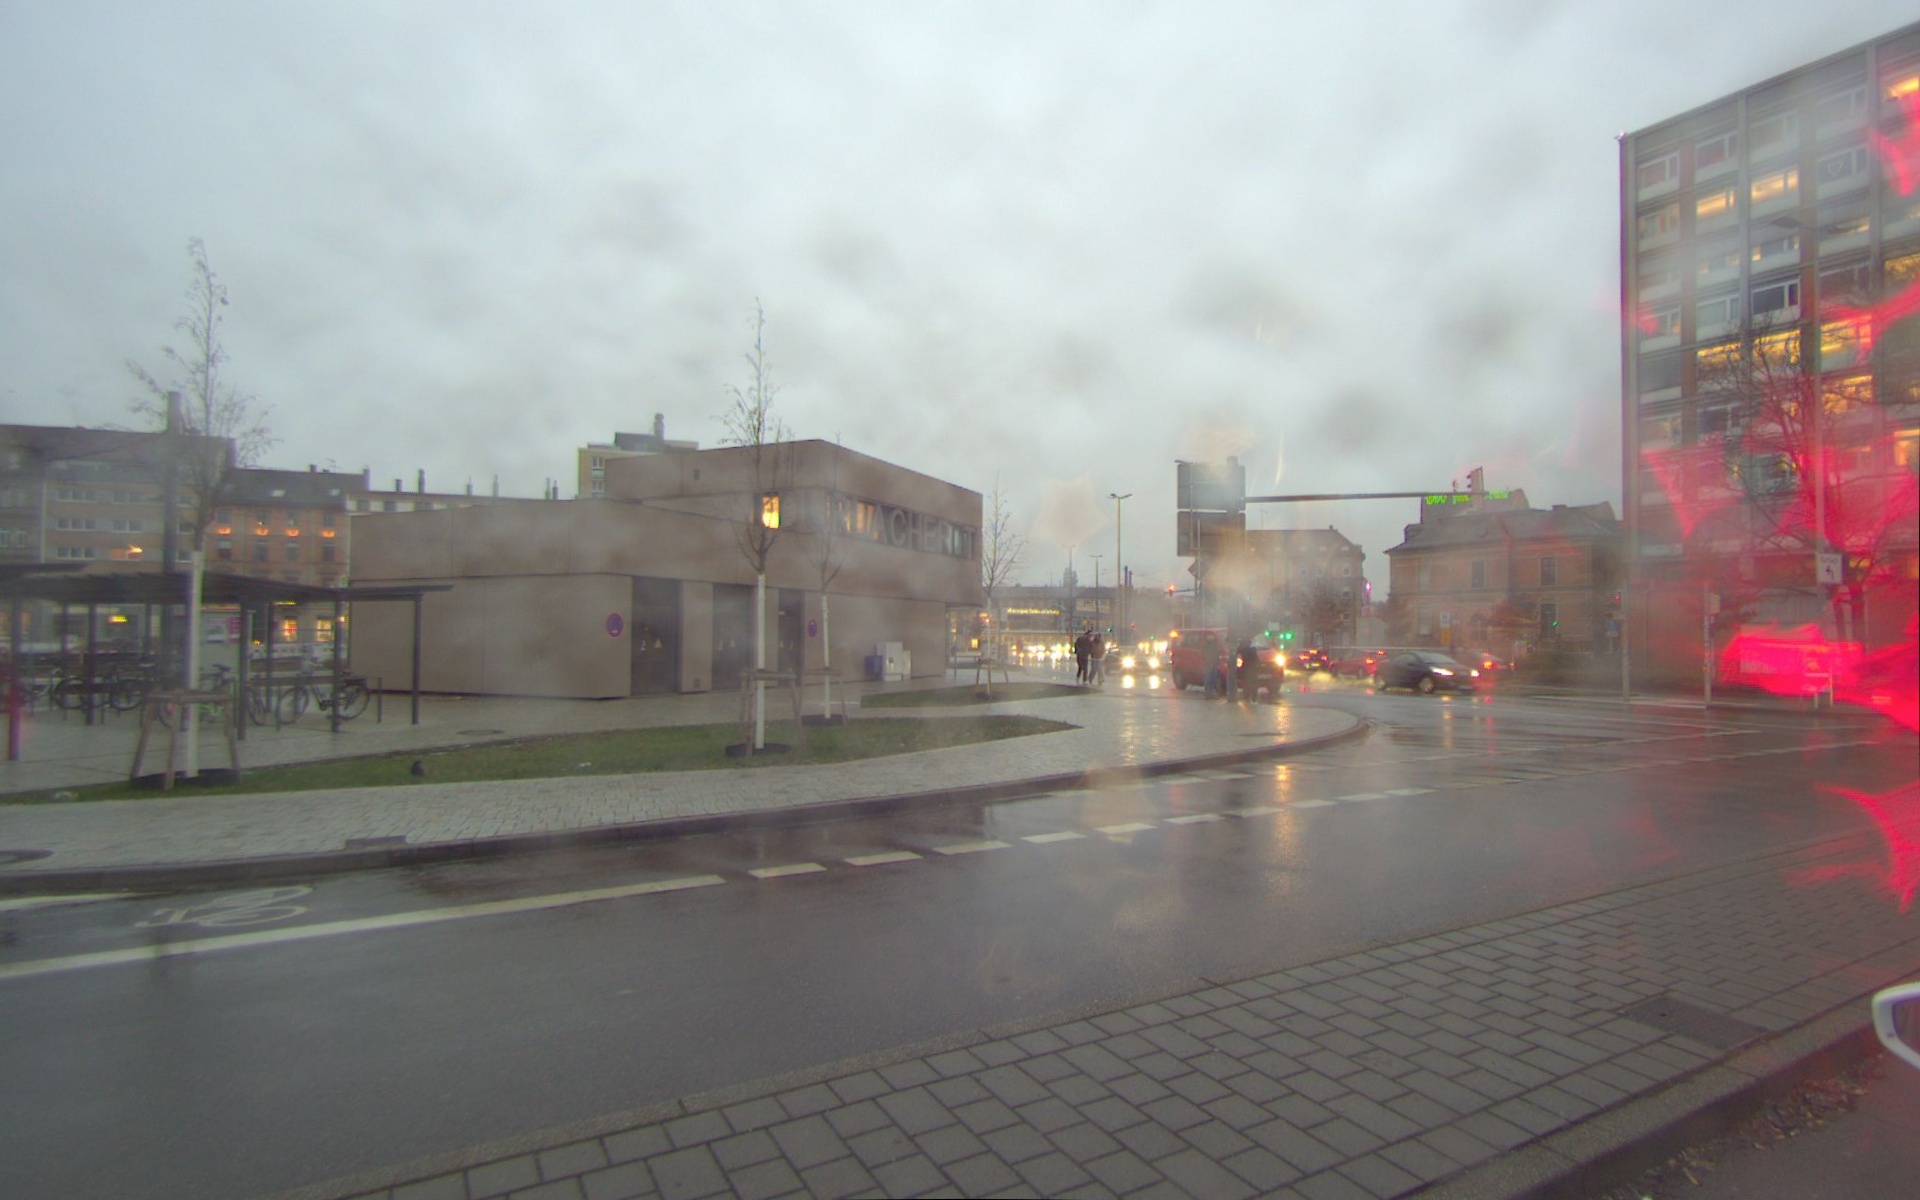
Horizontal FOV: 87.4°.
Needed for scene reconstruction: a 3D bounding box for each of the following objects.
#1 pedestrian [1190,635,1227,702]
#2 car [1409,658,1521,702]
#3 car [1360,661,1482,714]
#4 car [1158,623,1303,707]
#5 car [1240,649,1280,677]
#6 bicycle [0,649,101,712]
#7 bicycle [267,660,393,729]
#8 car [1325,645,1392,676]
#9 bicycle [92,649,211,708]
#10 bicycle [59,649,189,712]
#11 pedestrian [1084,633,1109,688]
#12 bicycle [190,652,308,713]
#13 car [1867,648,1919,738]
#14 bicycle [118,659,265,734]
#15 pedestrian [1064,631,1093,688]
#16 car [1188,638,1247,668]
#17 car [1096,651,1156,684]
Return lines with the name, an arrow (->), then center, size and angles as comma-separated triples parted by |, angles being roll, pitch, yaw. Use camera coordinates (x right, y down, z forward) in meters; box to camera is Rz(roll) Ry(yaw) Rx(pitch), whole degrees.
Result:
pedestrian -> 6.580, 1.802, 26.642 | 0.781, 1.719, 0.461 | 3, -1, -7
car -> 21.817, 3.425, 43.588 | 1.934, 1.601, 4.437 | 3, -1, -12
car -> 15.431, 2.899, 33.844 | 1.578, 1.468, 3.827 | 3, -1, -16
car -> 8.337, 1.955, 31.539 | 2.220, 2.311, 5.025 | 3, -1, -13
car -> 19.272, 4.021, 64.700 | 1.536, 1.626, 3.413 | 3, -1, 0
bicycle -> -18.446, 1.591, 20.032 | 0.541, 1.180, 1.895 | 2, -2, 30
bicycle -> -11.680, 1.726, 18.688 | 0.541, 1.180, 1.895 | 2, -2, 30
car -> 20.427, 3.084, 51.628 | 1.535, 1.416, 3.798 | 3, -1, -7
bicycle -> -17.449, 1.671, 21.733 | 0.541, 1.180, 1.895 | 2, -2, 30
bicycle -> -16.839, 1.600, 20.286 | 0.541, 1.180, 1.895 | 2, -2, 30
pedestrian -> 4.539, 2.013, 33.373 | 0.576, 1.795, 0.610 | 3, -1, -16
bicycle -> -14.730, 1.683, 20.863 | 0.541, 1.180, 1.895 | 2, -2, 30
car -> 19.720, 1.841, 18.581 | 1.731, 1.706, 4.069 | 3, -1, -16
bicycle -> -13.130, 1.621, 17.224 | 0.541, 1.180, 1.895 | 2, -2, 30
pedestrian -> 3.935, 1.960, 33.266 | 0.670, 1.839, 0.692 | 3, -1, -16
car -> 18.810, 3.856, 73.555 | 1.966, 1.938, 5.157 | 1, -1, -14
car -> 8.461, 3.426, 51.382 | 1.578, 1.468, 3.637 | 3, -1, -16
